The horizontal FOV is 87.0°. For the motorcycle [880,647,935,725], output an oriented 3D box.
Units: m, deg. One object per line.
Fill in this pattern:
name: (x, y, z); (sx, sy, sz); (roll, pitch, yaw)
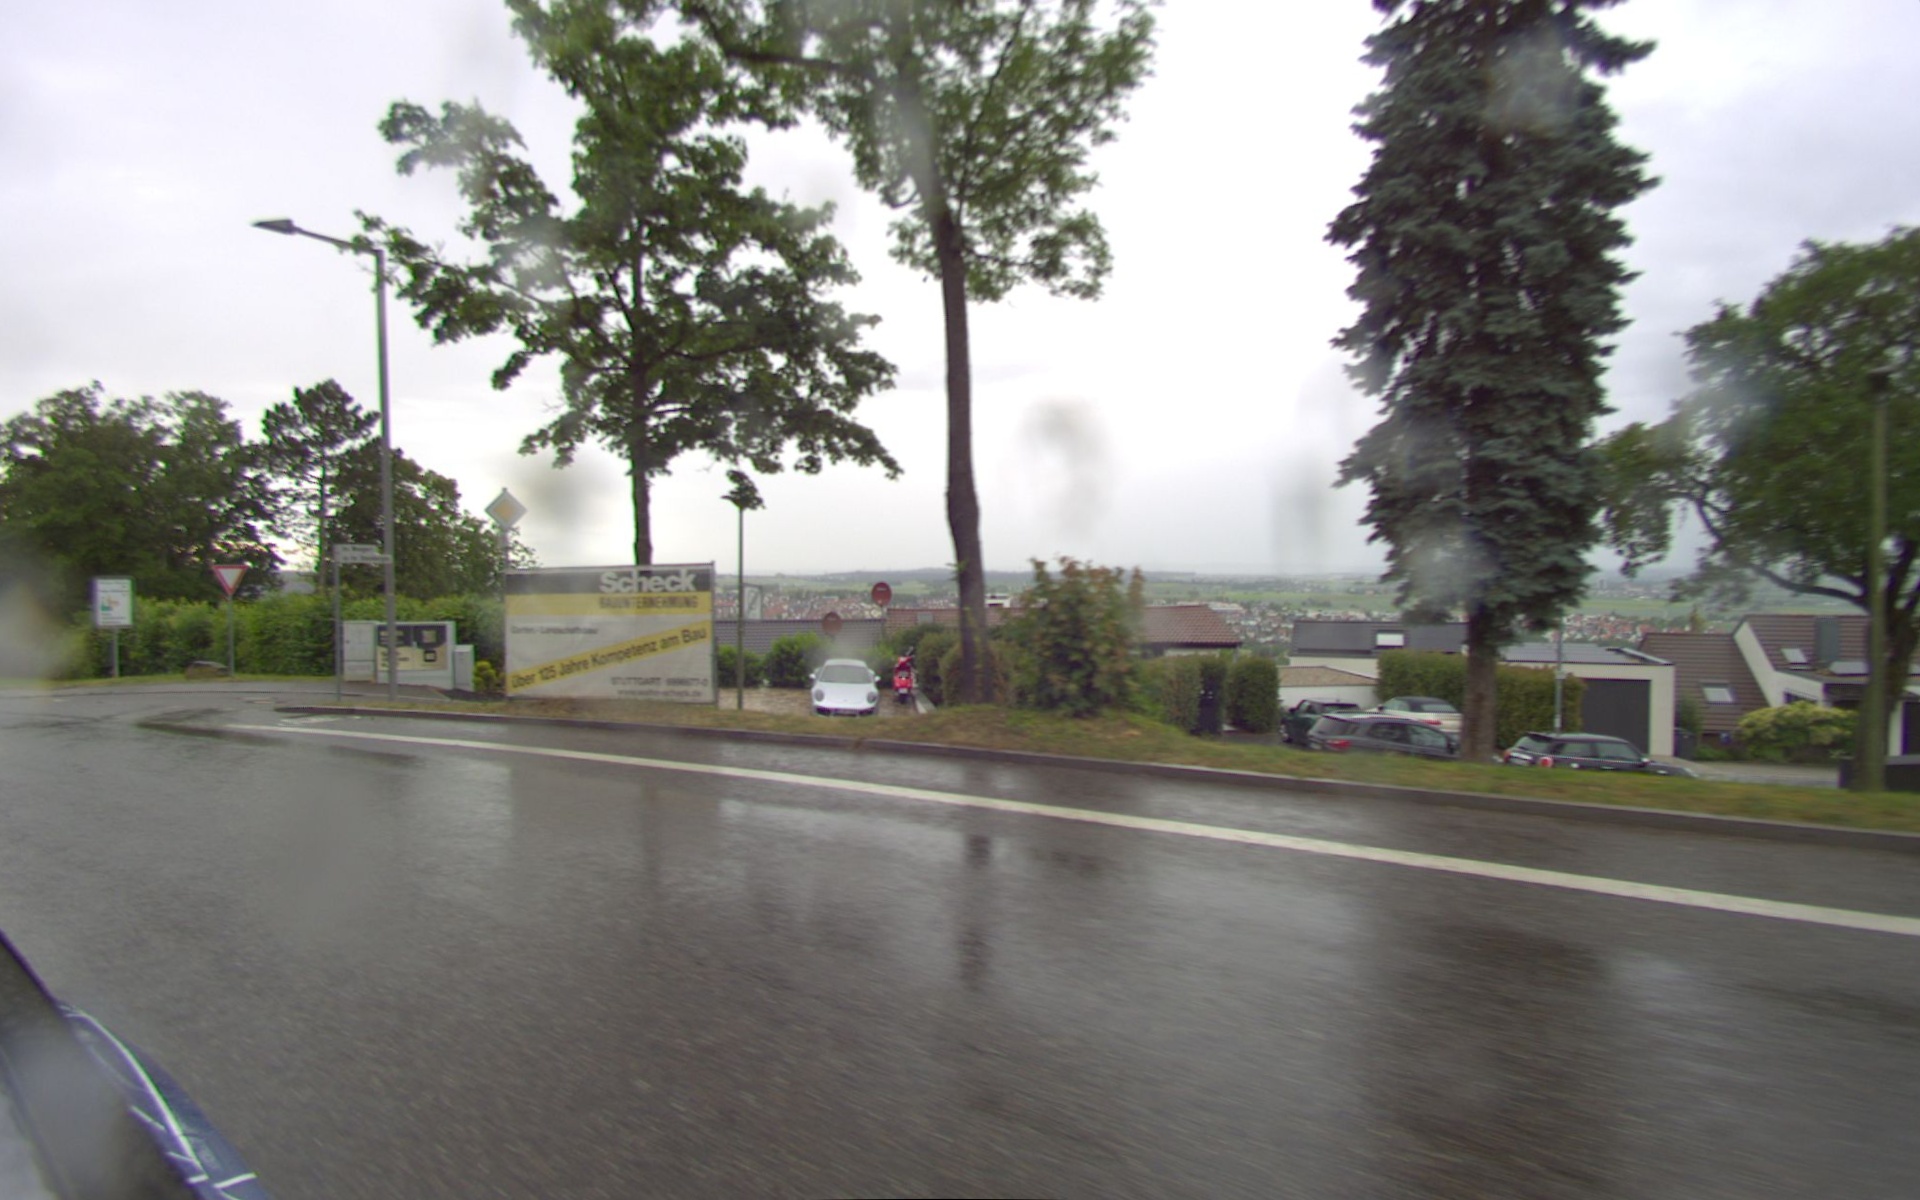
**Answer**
motorcycle: (-1.507, 2.310, 28.118); (1.199, 1.274, 3.883); (-4, 8, -6)

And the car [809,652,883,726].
car: (-3.160, 2.335, 27.437); (1.759, 1.262, 4.255); (3, 4, -8)

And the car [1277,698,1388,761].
car: (10.707, 3.706, 29.432); (1.860, 1.427, 3.996); (-2, -2, 3)

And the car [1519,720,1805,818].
car: (14.101, 3.380, 20.552); (4.221, 1.361, 2.163); (5, -2, 1)

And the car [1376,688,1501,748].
car: (13.861, 3.399, 29.607); (1.860, 1.367, 3.996); (-2, -2, 3)

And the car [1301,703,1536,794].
car: (9.398, 3.037, 20.995); (3.945, 1.427, 1.884); (3, -2, 1)
